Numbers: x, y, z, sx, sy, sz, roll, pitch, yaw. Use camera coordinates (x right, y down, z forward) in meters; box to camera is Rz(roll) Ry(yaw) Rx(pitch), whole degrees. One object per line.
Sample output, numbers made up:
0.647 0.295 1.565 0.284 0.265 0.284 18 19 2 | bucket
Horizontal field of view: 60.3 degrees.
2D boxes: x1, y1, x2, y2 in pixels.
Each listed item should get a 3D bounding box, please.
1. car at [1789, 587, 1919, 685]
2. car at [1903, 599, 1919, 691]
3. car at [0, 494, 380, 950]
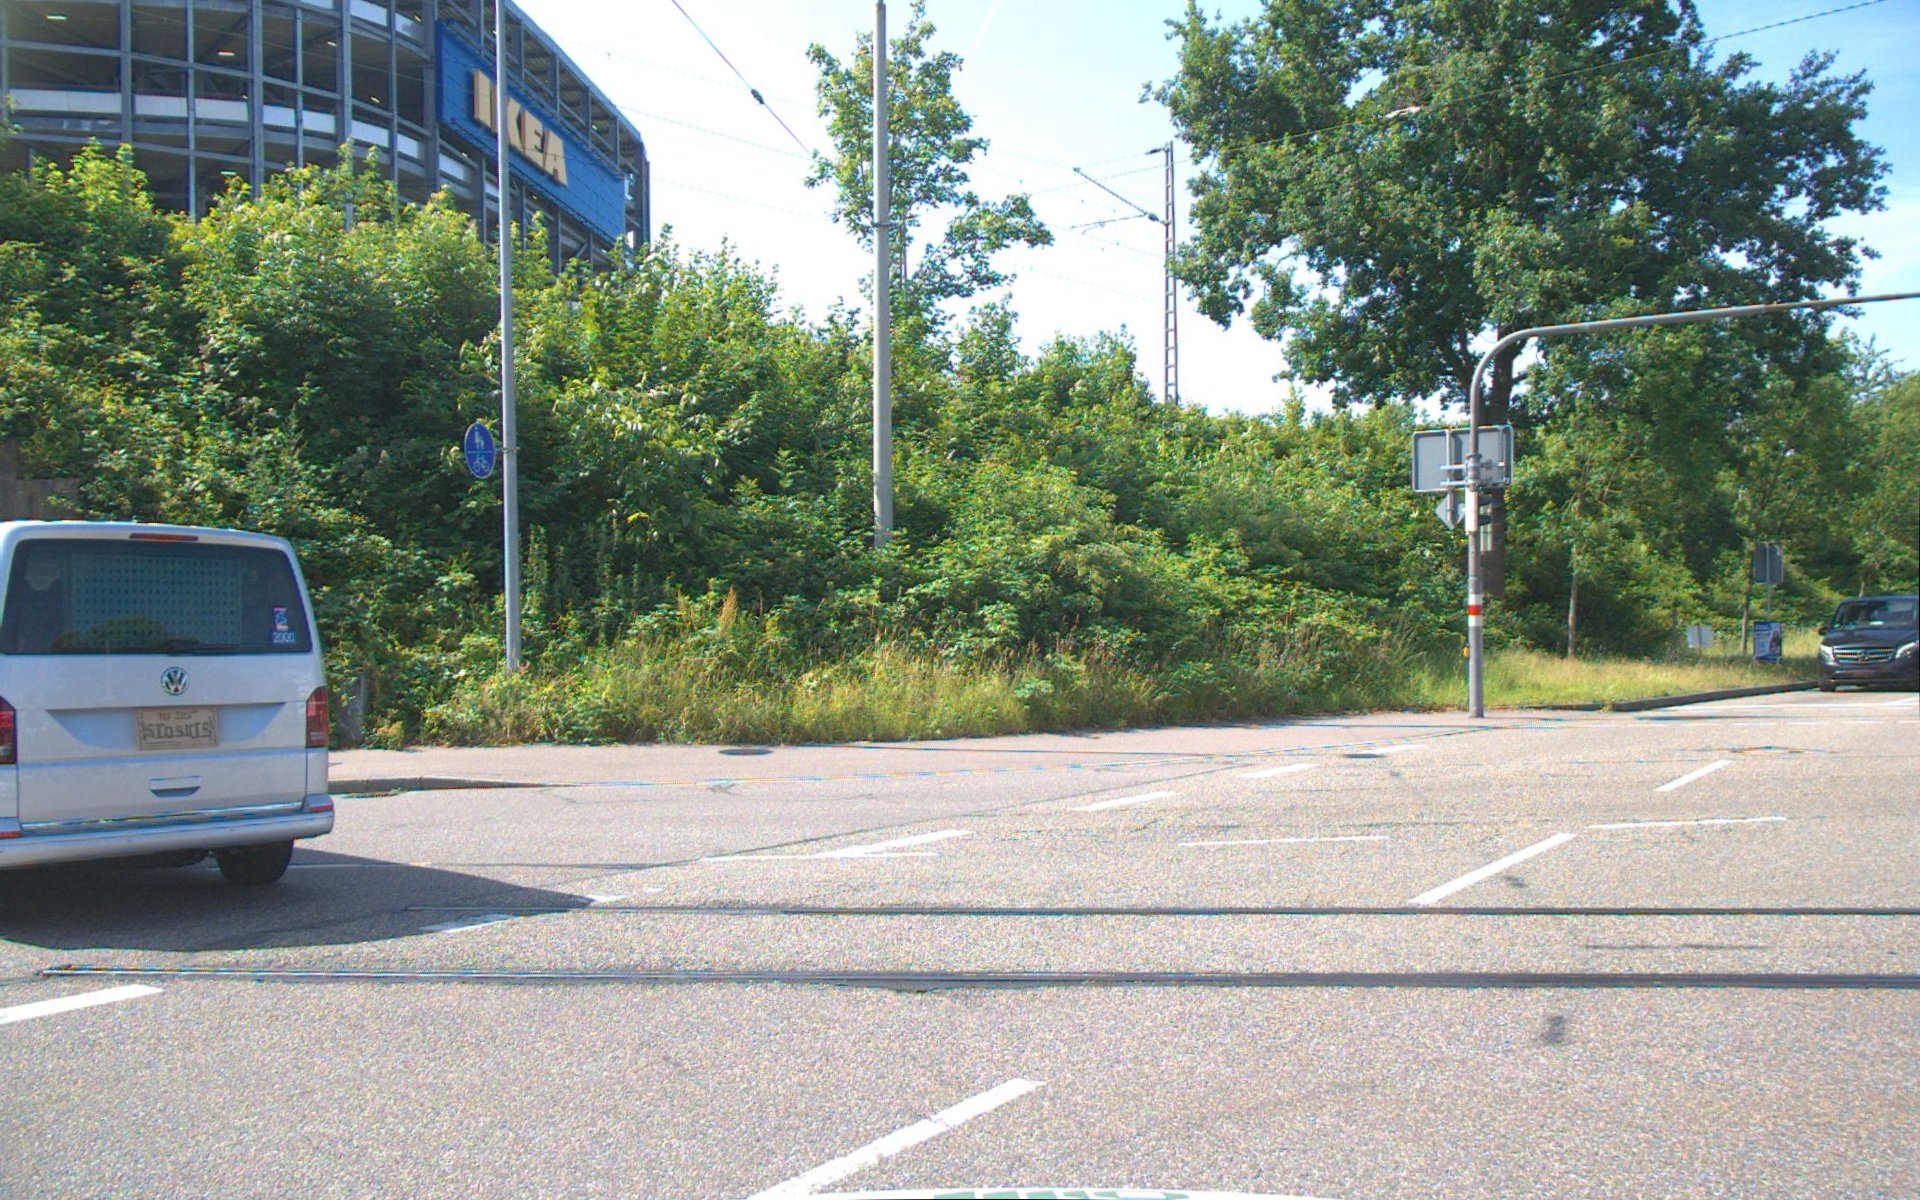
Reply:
18.191 0.700 33.486 1.819 1.846 3.984 -1 -1 37 | car
18.273 0.764 29.724 1.819 1.589 3.984 -1 -1 37 | car
-5.469 0.566 9.575 4.933 2.006 1.936 -1 -1 43 | car
